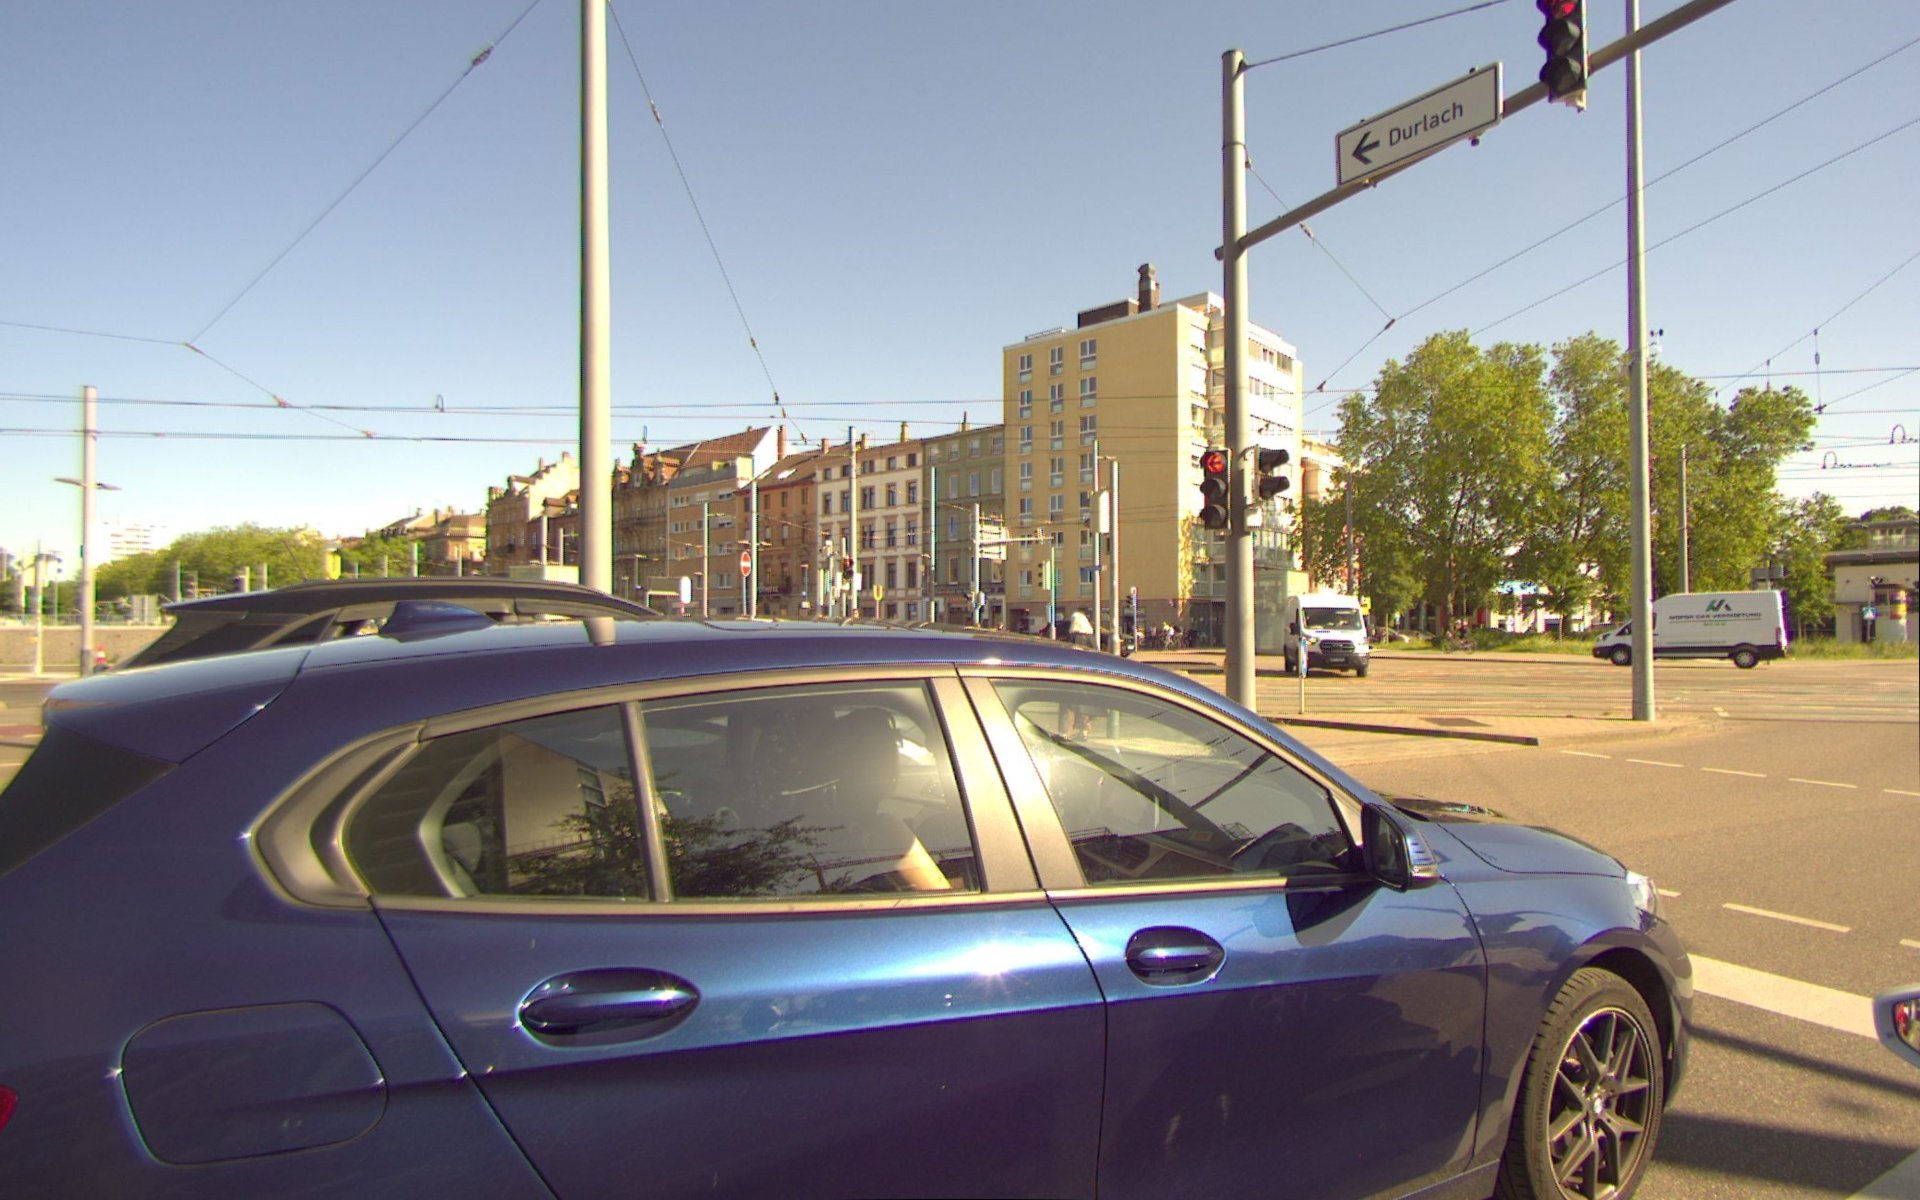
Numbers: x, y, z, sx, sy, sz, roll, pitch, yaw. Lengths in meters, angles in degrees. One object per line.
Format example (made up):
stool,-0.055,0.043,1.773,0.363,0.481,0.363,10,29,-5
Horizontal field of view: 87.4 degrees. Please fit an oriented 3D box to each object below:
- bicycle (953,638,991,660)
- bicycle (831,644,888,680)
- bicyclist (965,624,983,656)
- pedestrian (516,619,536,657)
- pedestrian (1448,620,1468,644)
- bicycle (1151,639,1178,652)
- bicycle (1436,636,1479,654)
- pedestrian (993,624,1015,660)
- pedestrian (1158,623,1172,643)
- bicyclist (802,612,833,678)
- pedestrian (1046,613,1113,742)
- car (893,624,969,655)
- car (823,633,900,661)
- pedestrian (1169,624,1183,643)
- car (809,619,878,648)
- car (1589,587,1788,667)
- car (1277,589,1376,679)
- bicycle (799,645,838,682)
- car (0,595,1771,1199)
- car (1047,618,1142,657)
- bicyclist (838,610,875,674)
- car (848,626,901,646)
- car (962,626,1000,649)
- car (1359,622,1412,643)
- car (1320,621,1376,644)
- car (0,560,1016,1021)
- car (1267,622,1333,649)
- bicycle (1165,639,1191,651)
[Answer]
bicycle,0.544,2.243,46.224,1.666,0.958,0.614,1,-1,-30
bicycle,-2.677,1.619,26.583,0.672,0.890,1.880,1,-2,-35
bicyclist,0.632,1.836,46.290,0.609,1.462,0.614,1,-1,-30
pedestrian,-19.887,1.746,46.014,0.672,1.735,0.793,1,-1,-38
pedestrian,26.123,1.679,52.688,0.784,1.220,0.558,-1,-2,40
bicycle,12.569,2.773,61.713,1.609,0.769,0.422,-1,-2,39
bicycle,26.100,2.348,52.699,1.981,0.925,0.560,-1,-2,40
pedestrian,1.982,1.870,45.252,0.669,1.593,0.740,1,-2,-45
pedestrian,12.616,2.031,61.687,0.738,1.220,0.422,-1,-2,39
bicyclist,-3.710,1.163,26.146,0.668,1.676,0.781,0,-1,-20
pedestrian,1.499,0.952,12.596,0.749,1.575,0.356,1,-1,-20
car,-1.656,2.189,56.429,4.246,1.675,1.848,-1,-2,42
car,-5.554,2.605,56.244,4.505,1.521,1.854,-1,-2,44
pedestrian,13.551,2.091,62.962,0.739,1.142,0.422,-1,-2,41
car,-7.205,2.056,62.082,4.244,1.675,1.849,-1,-2,40
car,27.206,1.017,37.668,5.838,2.780,2.133,-1,-2,42
car,11.265,1.037,31.266,1.959,2.541,5.423,0,-2,10
bicycle,-3.699,1.641,26.096,0.668,0.890,1.891,0,-2,-19
car,0.101,0.768,2.532,3.984,1.464,1.703,1,0,-30
car,6.116,1.702,45.914,1.858,1.681,4.019,1,-2,-44
bicyclist,-2.749,1.112,26.688,0.672,1.676,0.777,1,-1,-35
car,-6.310,2.642,74.429,1.749,1.446,3.863,-1,-2,39
car,1.372,2.484,67.003,1.745,1.446,3.873,0,-2,-10
car,34.796,2.622,82.212,3.691,1.684,1.586,-1,-2,42
car,29.811,2.486,77.176,3.691,1.684,1.586,-1,-2,42
car,-1.859,0.673,5.071,3.959,1.537,1.751,1,-1,-28
car,21.522,2.240,63.667,3.691,1.684,1.586,-1,-2,42
bicycle,13.627,2.798,62.883,1.610,0.727,0.422,-1,-2,41
